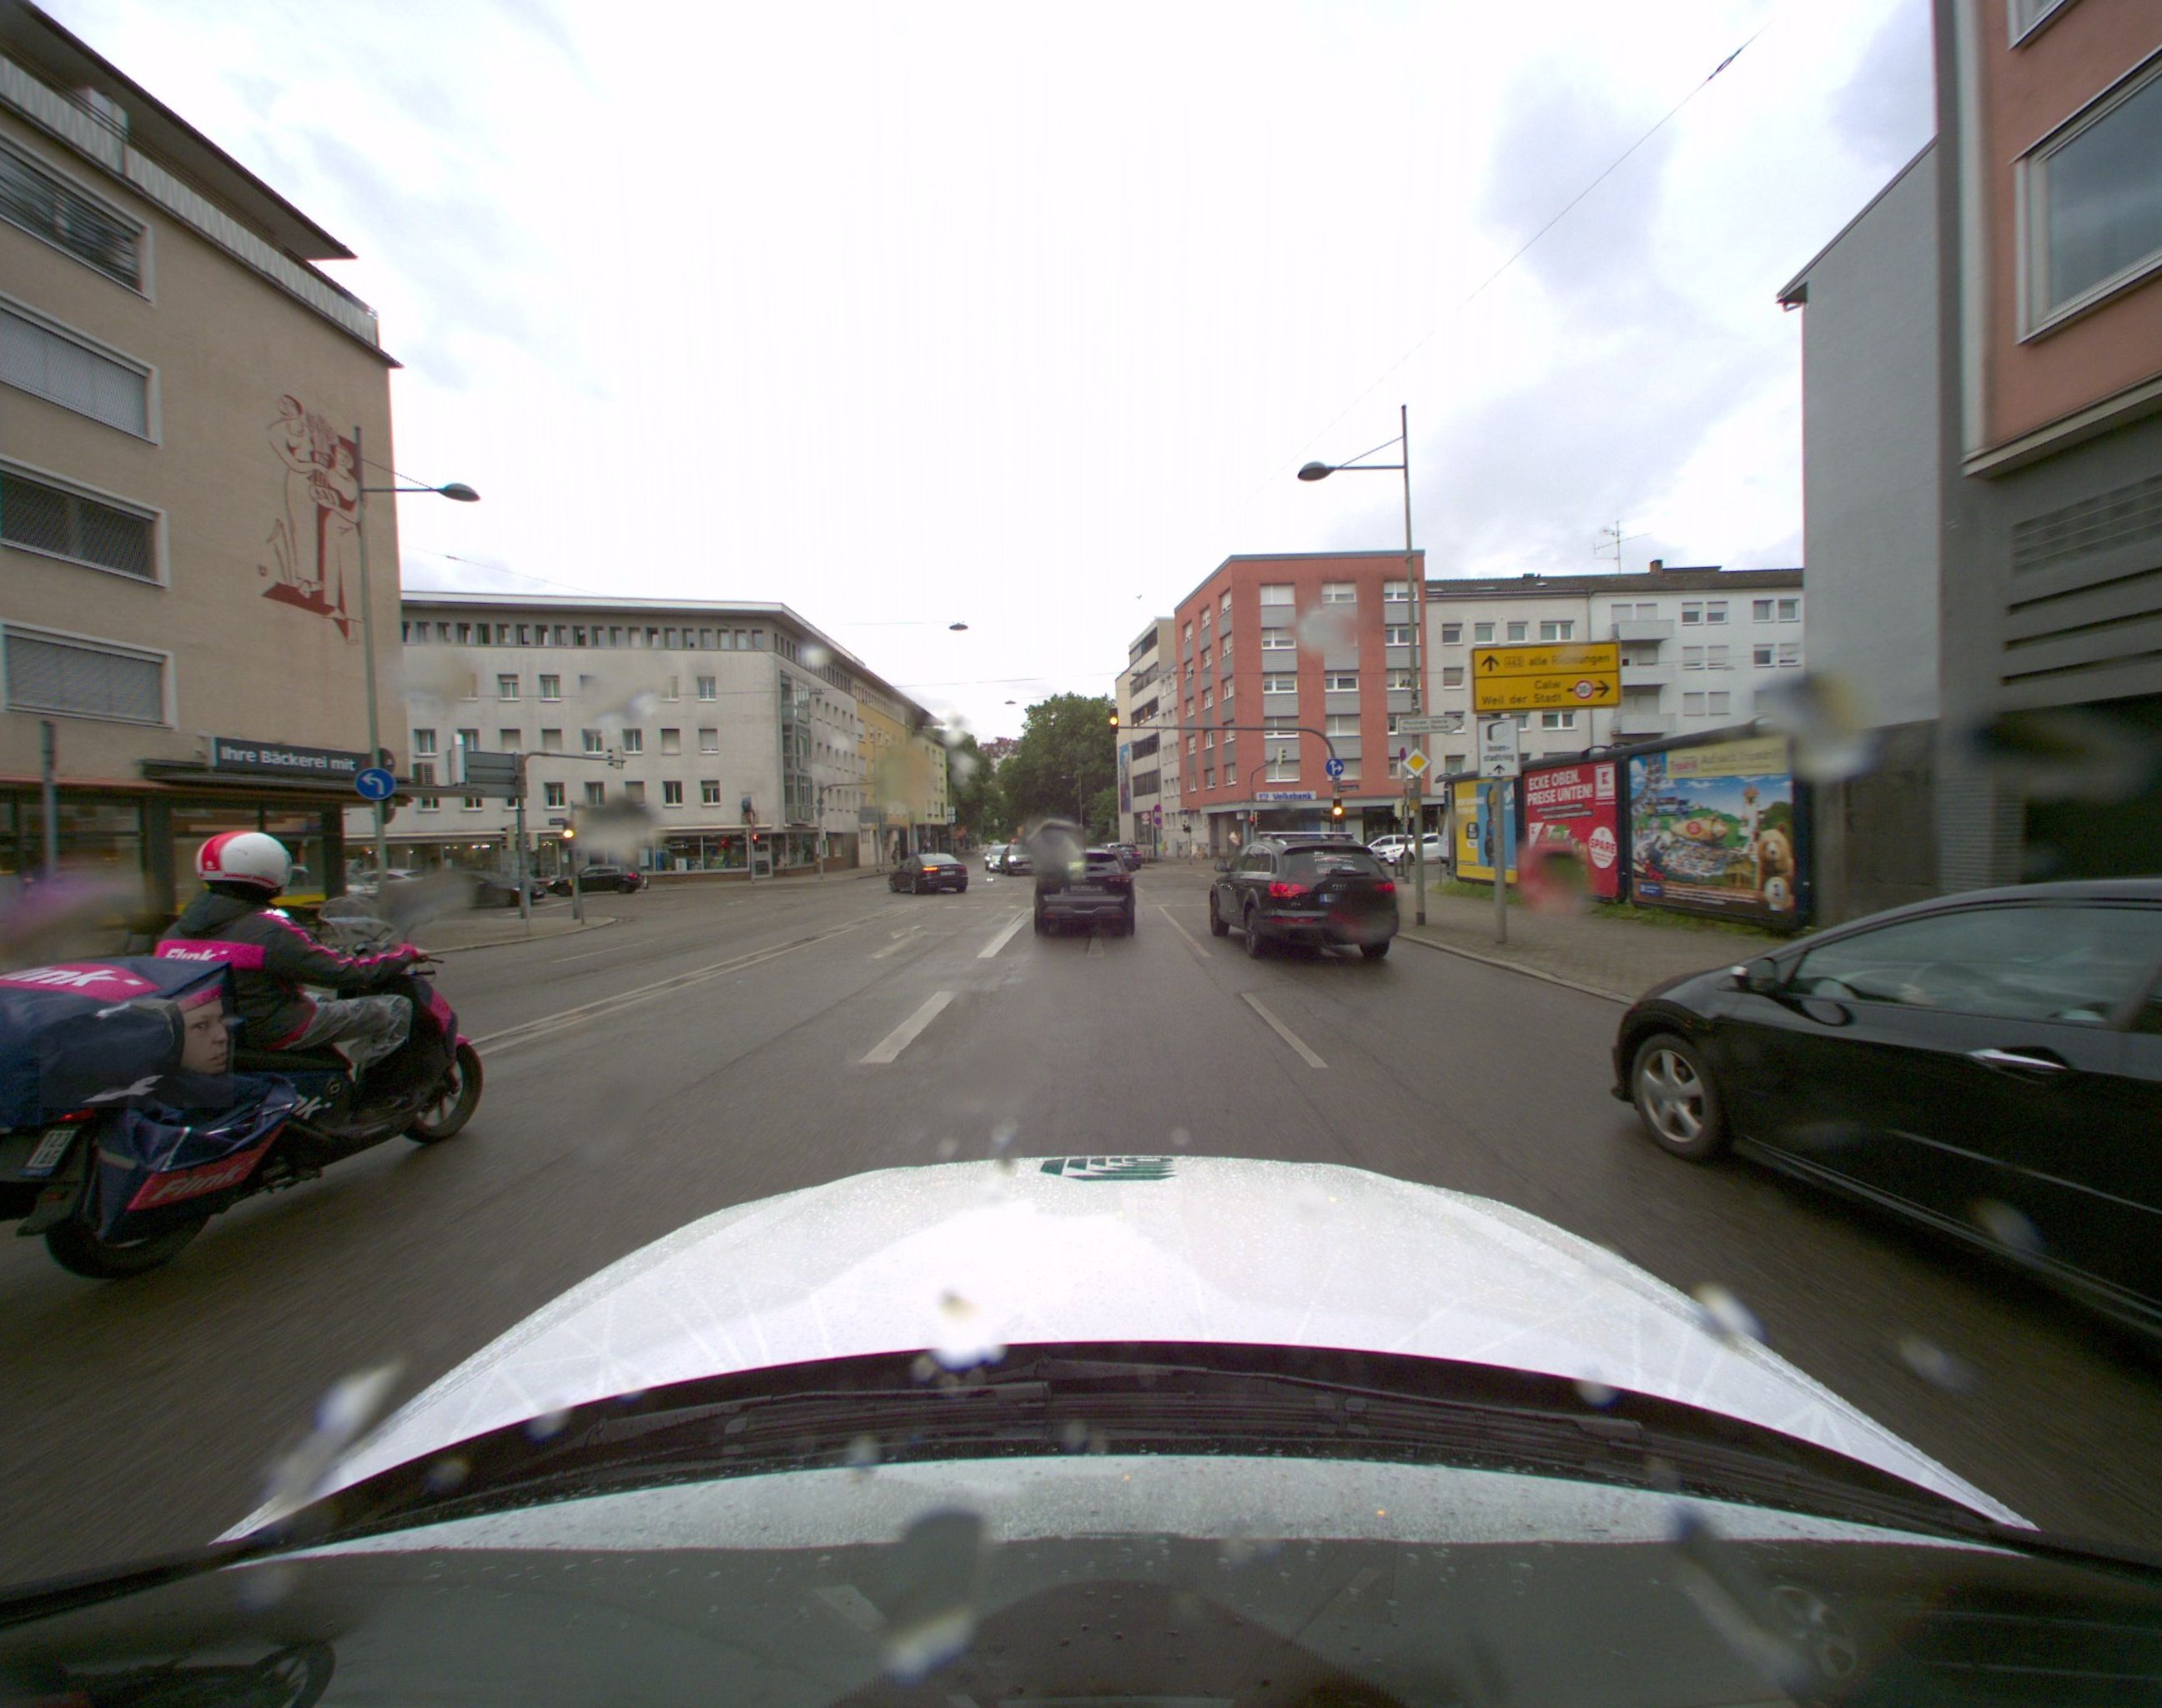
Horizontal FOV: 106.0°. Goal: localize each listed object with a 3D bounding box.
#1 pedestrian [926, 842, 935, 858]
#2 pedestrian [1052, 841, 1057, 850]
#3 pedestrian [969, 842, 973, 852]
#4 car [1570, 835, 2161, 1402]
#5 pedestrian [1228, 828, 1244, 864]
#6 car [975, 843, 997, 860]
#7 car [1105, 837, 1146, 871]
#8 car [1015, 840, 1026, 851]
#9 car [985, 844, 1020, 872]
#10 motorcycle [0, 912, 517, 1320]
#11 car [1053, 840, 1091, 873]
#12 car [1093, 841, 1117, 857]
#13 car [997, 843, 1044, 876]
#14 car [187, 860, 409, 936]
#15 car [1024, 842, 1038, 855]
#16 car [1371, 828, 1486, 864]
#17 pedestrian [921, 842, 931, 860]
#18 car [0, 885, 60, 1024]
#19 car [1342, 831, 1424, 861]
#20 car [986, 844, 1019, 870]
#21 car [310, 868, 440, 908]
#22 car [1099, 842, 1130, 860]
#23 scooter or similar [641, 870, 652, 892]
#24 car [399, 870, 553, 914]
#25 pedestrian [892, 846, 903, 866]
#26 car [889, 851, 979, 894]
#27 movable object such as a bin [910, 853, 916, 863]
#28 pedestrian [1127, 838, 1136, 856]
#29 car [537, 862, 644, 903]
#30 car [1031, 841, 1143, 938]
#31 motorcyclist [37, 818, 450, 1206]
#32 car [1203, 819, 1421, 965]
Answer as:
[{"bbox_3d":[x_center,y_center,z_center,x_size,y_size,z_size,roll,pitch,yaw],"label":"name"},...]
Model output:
[{"bbox_3d":[-15.872,-0.450,85.727,0.797,1.688,0.815,-2,1,-7],"label":"pedestrian"},{"bbox_3d":[-5.134,-1.642,156.176,0.712,1.791,0.673,1,1,42],"label":"pedestrian"},{"bbox_3d":[-20.444,-1.366,151.454,0.667,1.791,0.718,0,1,-13],"label":"pedestrian"},{"bbox_3d":[3.751,0.694,2.796,1.777,1.497,4.057,0,0,1],"label":"car"},{"bbox_3d":[9.325,-0.501,49.046,0.823,2.158,0.769,0,1,0],"label":"pedestrian"},{"bbox_3d":[-10.649,-0.297,91.464,1.987,1.859,3.999,0,1,-1],"label":"car"},{"bbox_3d":[2.578,-0.009,48.365,1.941,1.816,3.997,-4,1,-2],"label":"car"},{"bbox_3d":[-9.817,-1.370,132.703,1.817,1.796,3.861,0,1,-4],"label":"car"},{"bbox_3d":[-4.667,0.240,48.659,1.931,1.526,4.126,-2,0,-6],"label":"car"},{"bbox_3d":[-3.584,0.948,3.763,0.586,1.191,2.100,0,0,-3],"label":"motorcycle"},{"bbox_3d":[-0.552,0.119,46.614,1.941,1.684,3.997,-4,1,-2],"label":"car"},{"bbox_3d":[2.262,-0.489,77.388,1.712,1.442,4.074,-4,1,-5],"label":"car"},{"bbox_3d":[-3.226,0.257,42.978,1.858,1.553,4.209,-2,1,-12],"label":"car"},{"bbox_3d":[-24.660,1.348,25.804,4.842,2.103,2.043,-2,-2,-4],"label":"car"},{"bbox_3d":[-6.714,-0.779,108.813,1.818,1.612,3.858,0,1,-6],"label":"car"},{"bbox_3d":[16.528,-0.401,38.841,4.638,1.486,1.919,-2,1,-2],"label":"car"},{"bbox_3d":[-15.867,-0.341,83.418,0.863,1.788,0.875,1,1,0],"label":"pedestrian"},{"bbox_3d":[-13.374,1.217,7.497,1.900,1.554,4.635,-3,0,3],"label":"car"},{"bbox_3d":[16.904,-0.432,45.685,3.934,1.486,1.702,-2,1,-1],"label":"car"},{"bbox_3d":[-5.178,0.201,53.890,1.816,1.608,4.427,-2,0,-2],"label":"car"},{"bbox_3d":[-34.893,1.642,40.393,4.330,1.631,2.038,-3,1,-12],"label":"car"},{"bbox_3d":[2.896,-0.328,70.931,1.774,1.401,4.566,-4,1,-9],"label":"car"},{"bbox_3d":[-23.258,1.442,43.567,0.366,1.094,1.127,-4,4,-23],"label":"scooter or similar"},{"bbox_3d":[-23.725,1.466,32.108,4.323,1.376,2.041,-2,2,-8],"label":"car"},{"bbox_3d":[-14.931,0.153,66.216,0.684,1.581,0.652,0,1,1],"label":"pedestrian"},{"bbox_3d":[-5.475,0.652,29.882,2.005,1.388,4.459,-3,1,-27],"label":"car"},{"bbox_3d":[-16.257,0.353,78.665,0.452,0.929,0.502,-2,1,1],"label":"movable object such as a bin"},{"bbox_3d":[4.925,-0.664,79.598,0.613,1.737,0.678,-4,1,-13],"label":"pedestrian"},{"bbox_3d":[-23.241,1.316,38.742,4.000,1.626,1.687,-3,0,-19],"label":"car"},{"bbox_3d":[0.035,0.580,15.922,1.890,1.628,3.997,0,1,-2],"label":"car"},{"bbox_3d":[-3.575,0.603,3.590,0.912,1.493,0.863,0,0,-3],"label":"motorcyclist"},{"bbox_3d":[3.361,0.481,12.985,2.015,1.869,4.897,0,0,-1],"label":"car"}]
